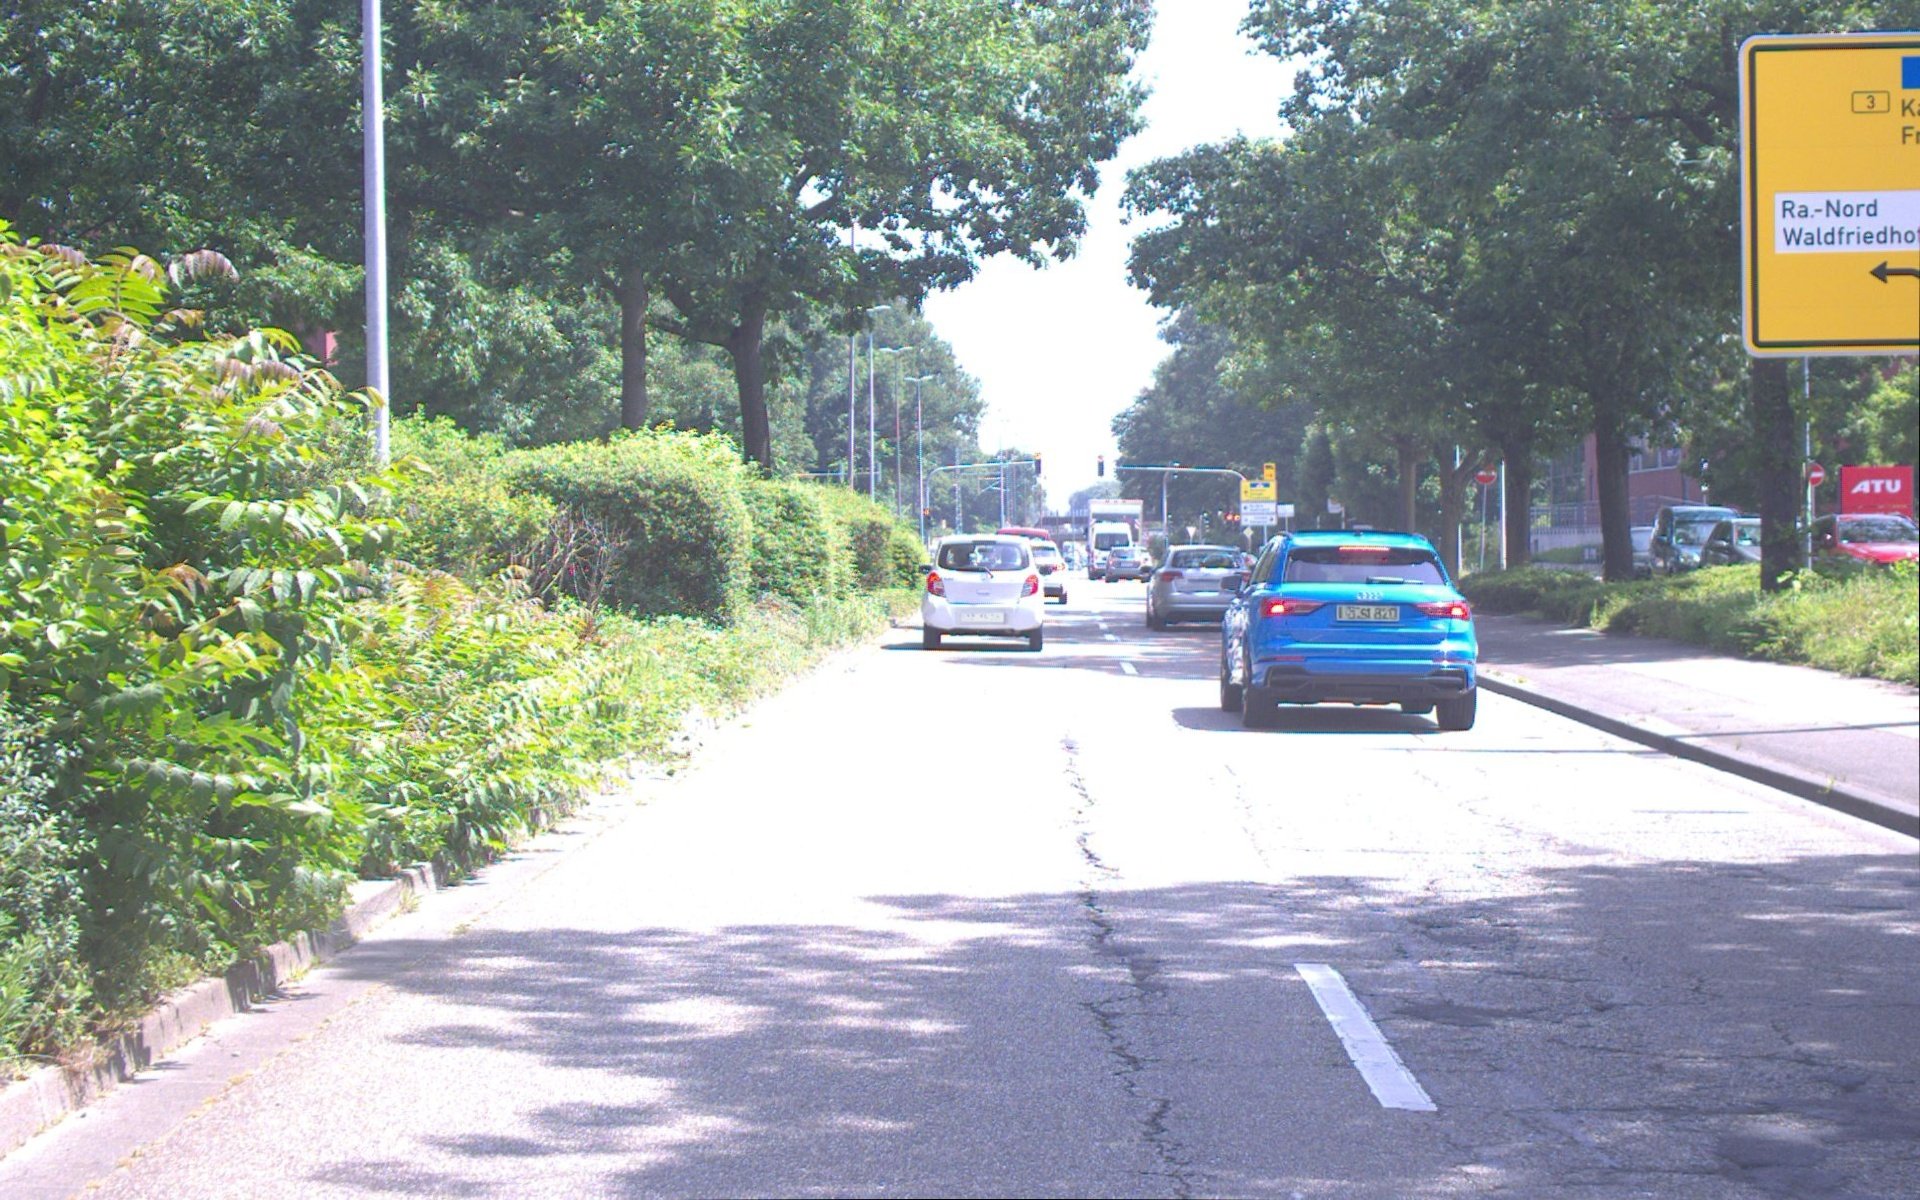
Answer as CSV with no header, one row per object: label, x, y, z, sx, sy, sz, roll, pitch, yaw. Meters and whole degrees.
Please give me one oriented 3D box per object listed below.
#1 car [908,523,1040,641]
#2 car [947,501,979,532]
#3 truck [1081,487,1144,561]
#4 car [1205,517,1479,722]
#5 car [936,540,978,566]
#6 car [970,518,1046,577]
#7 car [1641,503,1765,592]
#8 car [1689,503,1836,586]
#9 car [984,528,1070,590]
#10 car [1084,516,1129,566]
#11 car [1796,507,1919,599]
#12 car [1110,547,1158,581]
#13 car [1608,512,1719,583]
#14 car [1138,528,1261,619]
car,0.163,-0.247,46.495,1.638,1.547,3.325,0,0,-2
car,0.164,-5.573,230.142,1.993,2.007,4.000,-1,1,-1
truck,7.477,-3.751,169.721,2.932,3.490,9.158,-1,1,2
car,3.116,0.135,28.811,1.808,1.587,4.349,0,0,0
car,-0.163,-2.395,174.719,1.993,1.284,4.000,-1,1,2
car,1.258,-1.372,90.942,1.794,1.518,4.000,0,0,-2
car,14.076,-0.974,65.294,1.701,1.632,3.905,0,0,3
car,13.949,-0.978,59.916,1.700,1.375,3.906,0,1,1
car,1.536,-0.923,77.738,1.885,1.349,4.000,0,0,2
car,6.771,-2.743,159.401,1.993,2.248,4.000,-1,1,2
car,14.405,-0.749,53.703,1.700,1.375,4.324,0,1,1
car,7.267,-1.517,143.751,1.866,1.305,4.000,-1,1,1
car,14.430,-1.063,70.717,1.701,1.420,4.653,0,0,5
car,3.964,-0.440,57.361,1.866,1.468,4.000,0,0,1
